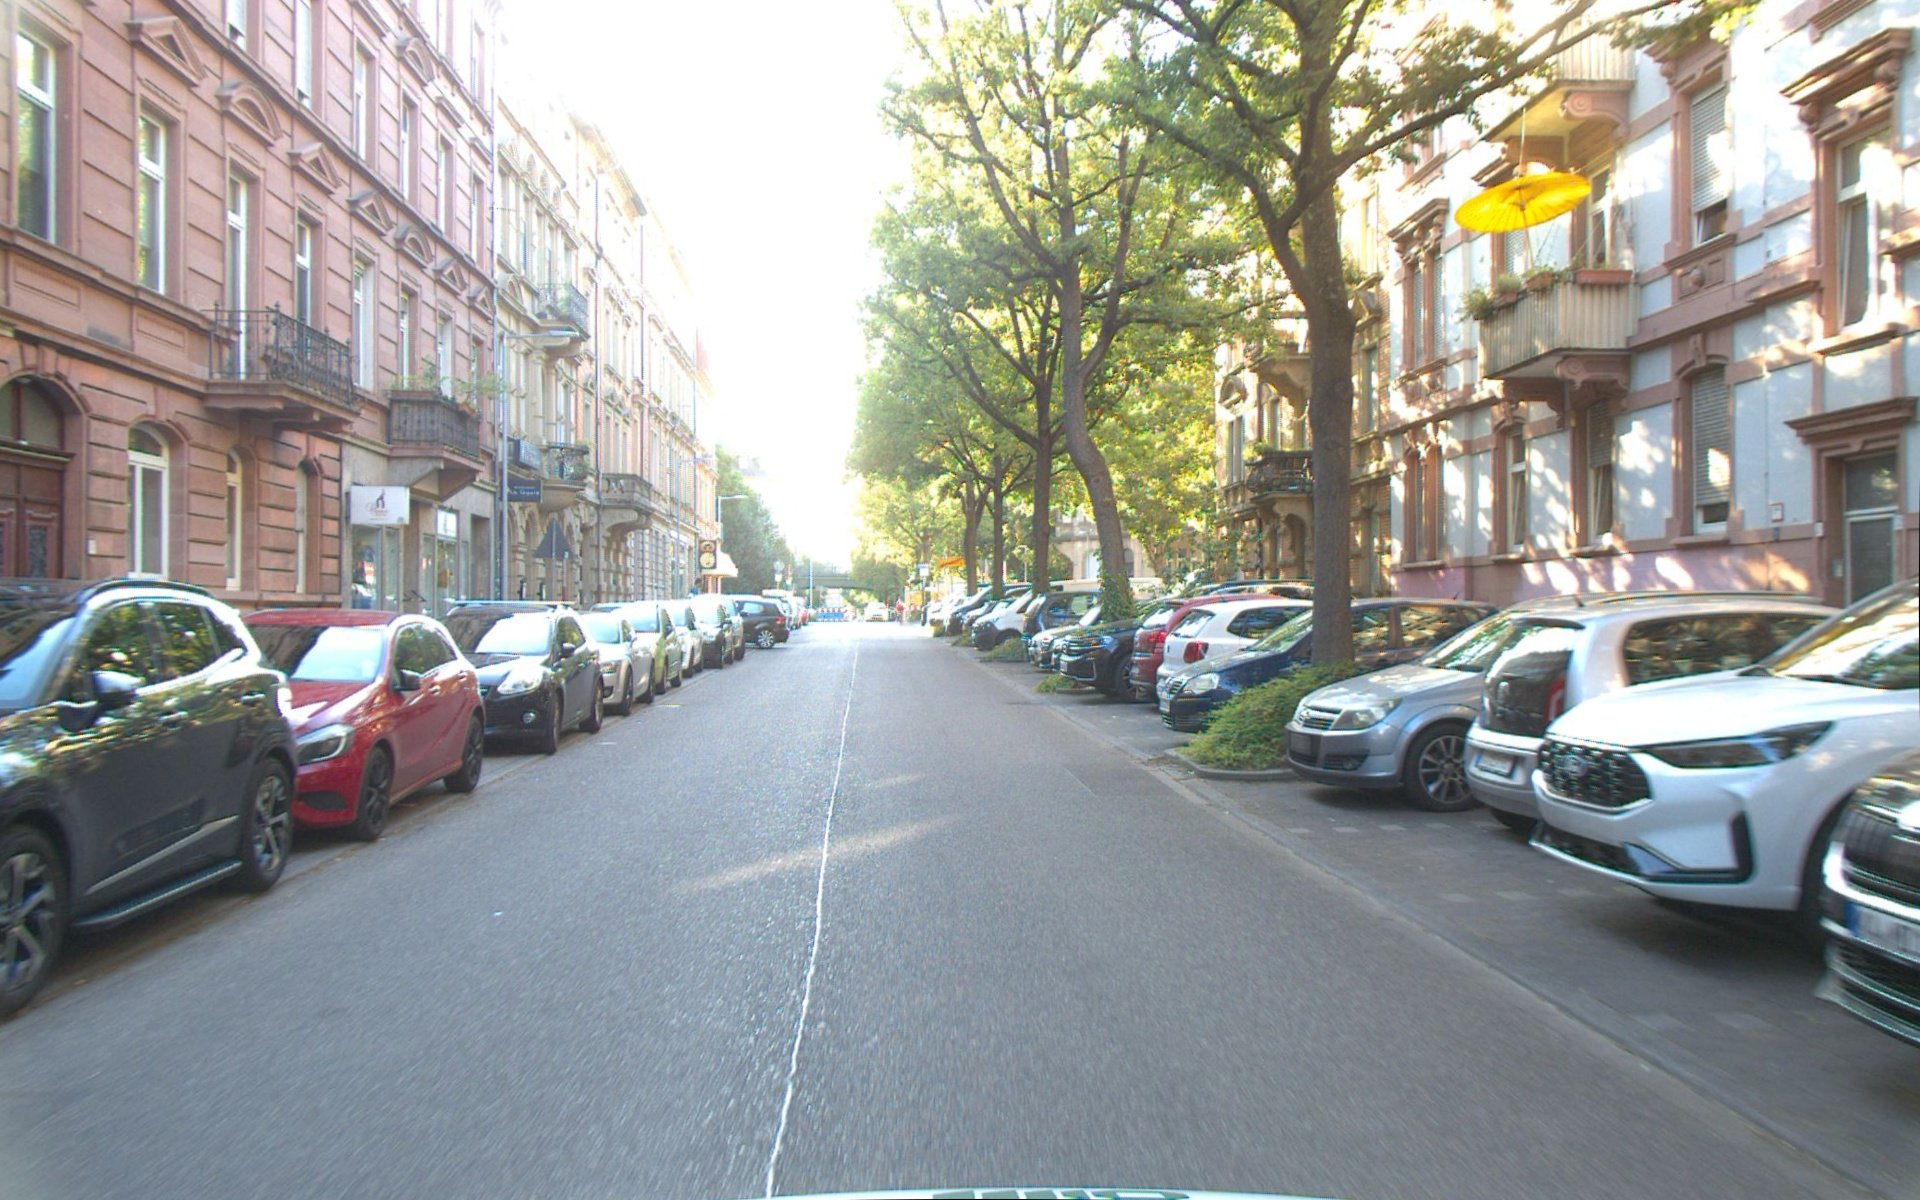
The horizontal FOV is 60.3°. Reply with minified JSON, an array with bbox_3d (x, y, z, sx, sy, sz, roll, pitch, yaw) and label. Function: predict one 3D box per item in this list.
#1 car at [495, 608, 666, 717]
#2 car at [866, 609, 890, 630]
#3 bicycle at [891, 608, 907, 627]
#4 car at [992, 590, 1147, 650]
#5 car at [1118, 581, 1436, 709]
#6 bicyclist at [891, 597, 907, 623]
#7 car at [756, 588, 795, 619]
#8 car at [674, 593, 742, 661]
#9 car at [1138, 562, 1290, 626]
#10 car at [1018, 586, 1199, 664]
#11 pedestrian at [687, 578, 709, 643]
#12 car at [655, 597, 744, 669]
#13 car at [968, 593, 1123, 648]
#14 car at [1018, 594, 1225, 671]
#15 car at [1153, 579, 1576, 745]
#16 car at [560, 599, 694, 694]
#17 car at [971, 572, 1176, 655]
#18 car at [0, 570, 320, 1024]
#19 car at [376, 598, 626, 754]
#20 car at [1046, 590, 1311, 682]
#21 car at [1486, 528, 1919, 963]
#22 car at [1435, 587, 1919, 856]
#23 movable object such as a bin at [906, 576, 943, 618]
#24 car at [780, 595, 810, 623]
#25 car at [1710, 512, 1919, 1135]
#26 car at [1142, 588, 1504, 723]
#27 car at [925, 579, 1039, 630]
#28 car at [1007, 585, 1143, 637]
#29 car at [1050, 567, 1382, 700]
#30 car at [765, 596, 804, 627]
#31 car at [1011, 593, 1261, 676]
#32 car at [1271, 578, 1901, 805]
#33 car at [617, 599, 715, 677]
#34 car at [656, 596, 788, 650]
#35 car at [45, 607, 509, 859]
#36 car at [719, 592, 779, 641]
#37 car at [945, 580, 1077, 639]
[{"bbox_3d":[-5.281,0.819,23.476,1.671,1.346,4.098,-1,0,-3],"label":"car"},{"bbox_3d":[-6.094,1.437,122.273,1.714,1.535,3.997,0,0,-4],"label":"car"},{"bbox_3d":[-3.332,0.961,89.802,0.787,0.985,2.107,1,0,-4],"label":"bicycle"},{"bbox_3d":[2.990,0.535,45.421,3.916,1.500,1.777,-2,0,-11],"label":"car"},{"bbox_3d":[4.265,0.582,22.572,3.911,1.618,1.780,-1,0,-7],"label":"car"},{"bbox_3d":[-3.308,0.539,89.809,0.787,1.407,0.984,1,0,-4],"label":"bicyclist"},{"bbox_3d":[-8.751,0.152,78.796,1.730,1.462,4.296,0,0,-5],"label":"car"},{"bbox_3d":[-6.544,0.667,43.207,1.616,1.601,4.042,2,0,-8],"label":"car"},{"bbox_3d":[10.463,-0.244,68.245,5.786,2.582,2.375,0,0,-10],"label":"car"},{"bbox_3d":[3.348,0.544,37.577,3.812,1.678,1.721,-1,0,-8],"label":"car"},{"bbox_3d":[-7.804,0.319,49.260,0.627,1.921,0.590,0,0,-12],"label":"pedestrian"},{"bbox_3d":[-5.995,0.721,38.420,1.615,1.498,3.997,2,0,-4],"label":"car"},{"bbox_3d":[2.428,0.566,47.682,4.282,1.481,1.932,-1,0,-3],"label":"car"},{"bbox_3d":[3.353,0.659,34.757,4.028,1.529,1.808,-1,0,-8],"label":"car"},{"bbox_3d":[4.132,0.601,17.249,3.909,1.412,1.676,-3,0,-4],"label":"car"},{"bbox_3d":[-5.587,0.739,28.142,1.671,1.464,3.956,-1,0,-3],"label":"car"},{"bbox_3d":[2.837,0.355,42.174,4.990,1.974,2.156,0,-3,-3],"label":"car"},{"bbox_3d":[-4.395,0.685,7.129,1.785,1.628,4.311,1,0,-3],"label":"car"},{"bbox_3d":[-4.994,0.752,18.612,1.785,1.503,4.420,1,0,-3],"label":"car"},{"bbox_3d":[3.862,0.625,29.798,4.460,1.556,1.999,-1,0,-2],"label":"car"},{"bbox_3d":[4.909,0.577,7.553,4.388,1.685,1.889,0,-1,-5],"label":"car"},{"bbox_3d":[5.215,0.674,10.259,4.018,1.495,1.800,0,0,-2],"label":"car"},{"bbox_3d":[-2.394,-0.187,112.431,1.951,2.747,3.113,0,-1,10],"label":"movable object such as a bin"},{"bbox_3d":[-9.419,0.509,94.326,1.637,1.557,3.995,0,0,-6],"label":"car"},{"bbox_3d":[4.783,0.603,4.767,4.385,1.685,1.891,0,-1,-2],"label":"car"},{"bbox_3d":[4.316,0.627,19.975,3.911,1.488,1.780,-1,0,-7],"label":"car"},{"bbox_3d":[0.940,0.189,72.401,4.875,2.132,2.104,0,0,-4],"label":"car"},{"bbox_3d":[3.528,0.338,51.319,4.000,1.524,1.842,-1,0,-3],"label":"car"},{"bbox_3d":[3.786,0.465,24.849,4.556,1.732,1.879,-2,0,-7],"label":"car"},{"bbox_3d":[-8.895,0.564,84.012,1.691,1.462,3.993,2,0,-3],"label":"car"},{"bbox_3d":[3.410,0.650,32.531,4.570,1.529,1.929,-1,0,-7],"label":"car"},{"bbox_3d":[4.637,0.623,12.580,4.141,1.563,1.799,0,0,-7],"label":"car"},{"bbox_3d":[-6.038,0.740,34.279,1.550,1.499,3.997,-1,0,-4],"label":"car"},{"bbox_3d":[-7.261,0.680,50.556,3.914,1.556,1.822,-1,0,-9],"label":"car"},{"bbox_3d":[-4.679,0.810,12.076,1.785,1.450,4.311,1,0,-3],"label":"car"},{"bbox_3d":[-7.187,0.547,56.523,1.707,1.594,3.892,0,0,-3],"label":"car"},{"bbox_3d":[1.803,0.342,59.569,4.526,2.049,1.998,-1,0,-6],"label":"car"}]
